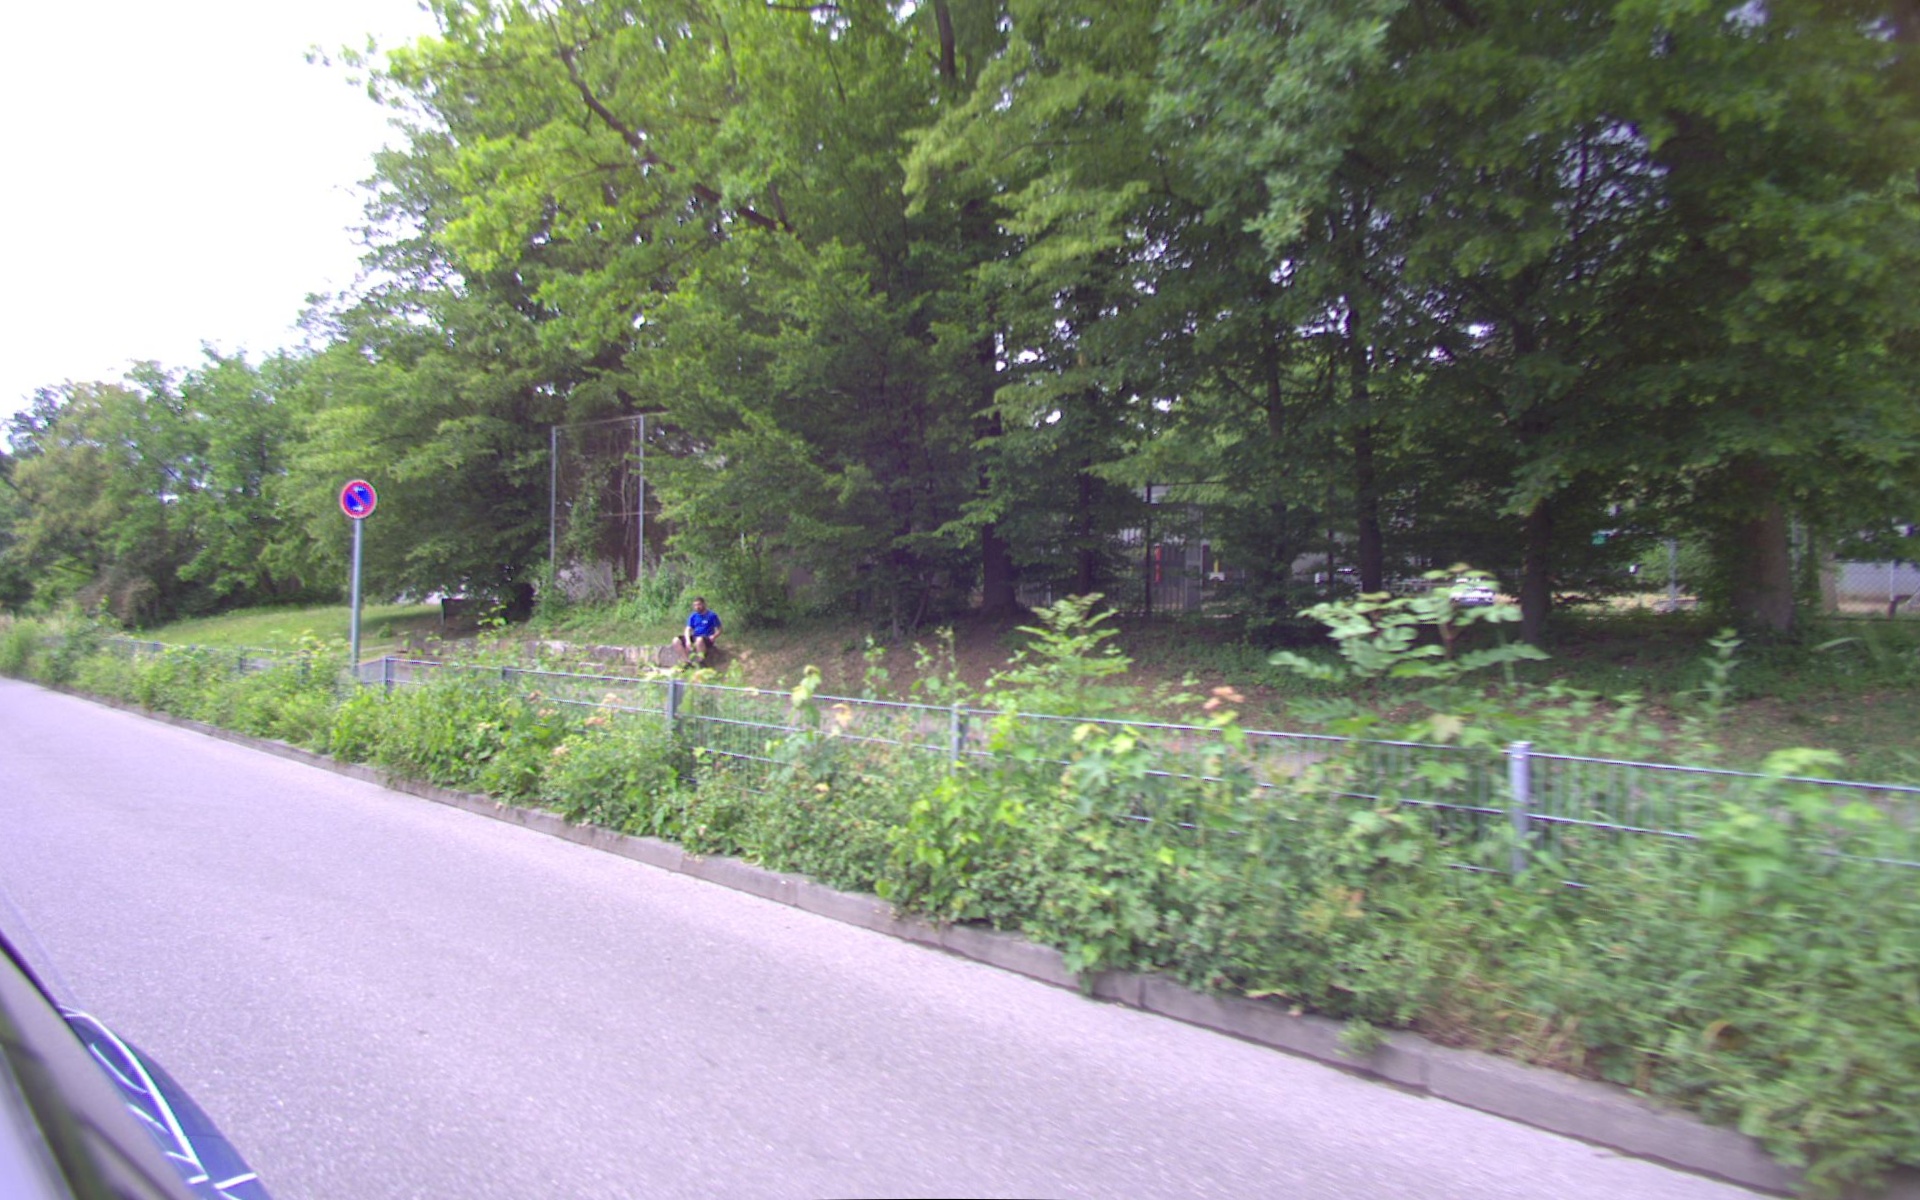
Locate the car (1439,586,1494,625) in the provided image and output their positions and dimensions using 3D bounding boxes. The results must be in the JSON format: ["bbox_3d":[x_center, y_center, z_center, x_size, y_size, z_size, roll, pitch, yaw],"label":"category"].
[{"bbox_3d":[23.483,0.295,47.053,1.962,1.707,4.414,0,-2,23],"label":"car"}]

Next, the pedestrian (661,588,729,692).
[{"bbox_3d":[-4.413,0.653,16.843,0.808,1.675,0.752,-1,-2,39],"label":"pedestrian"}]
